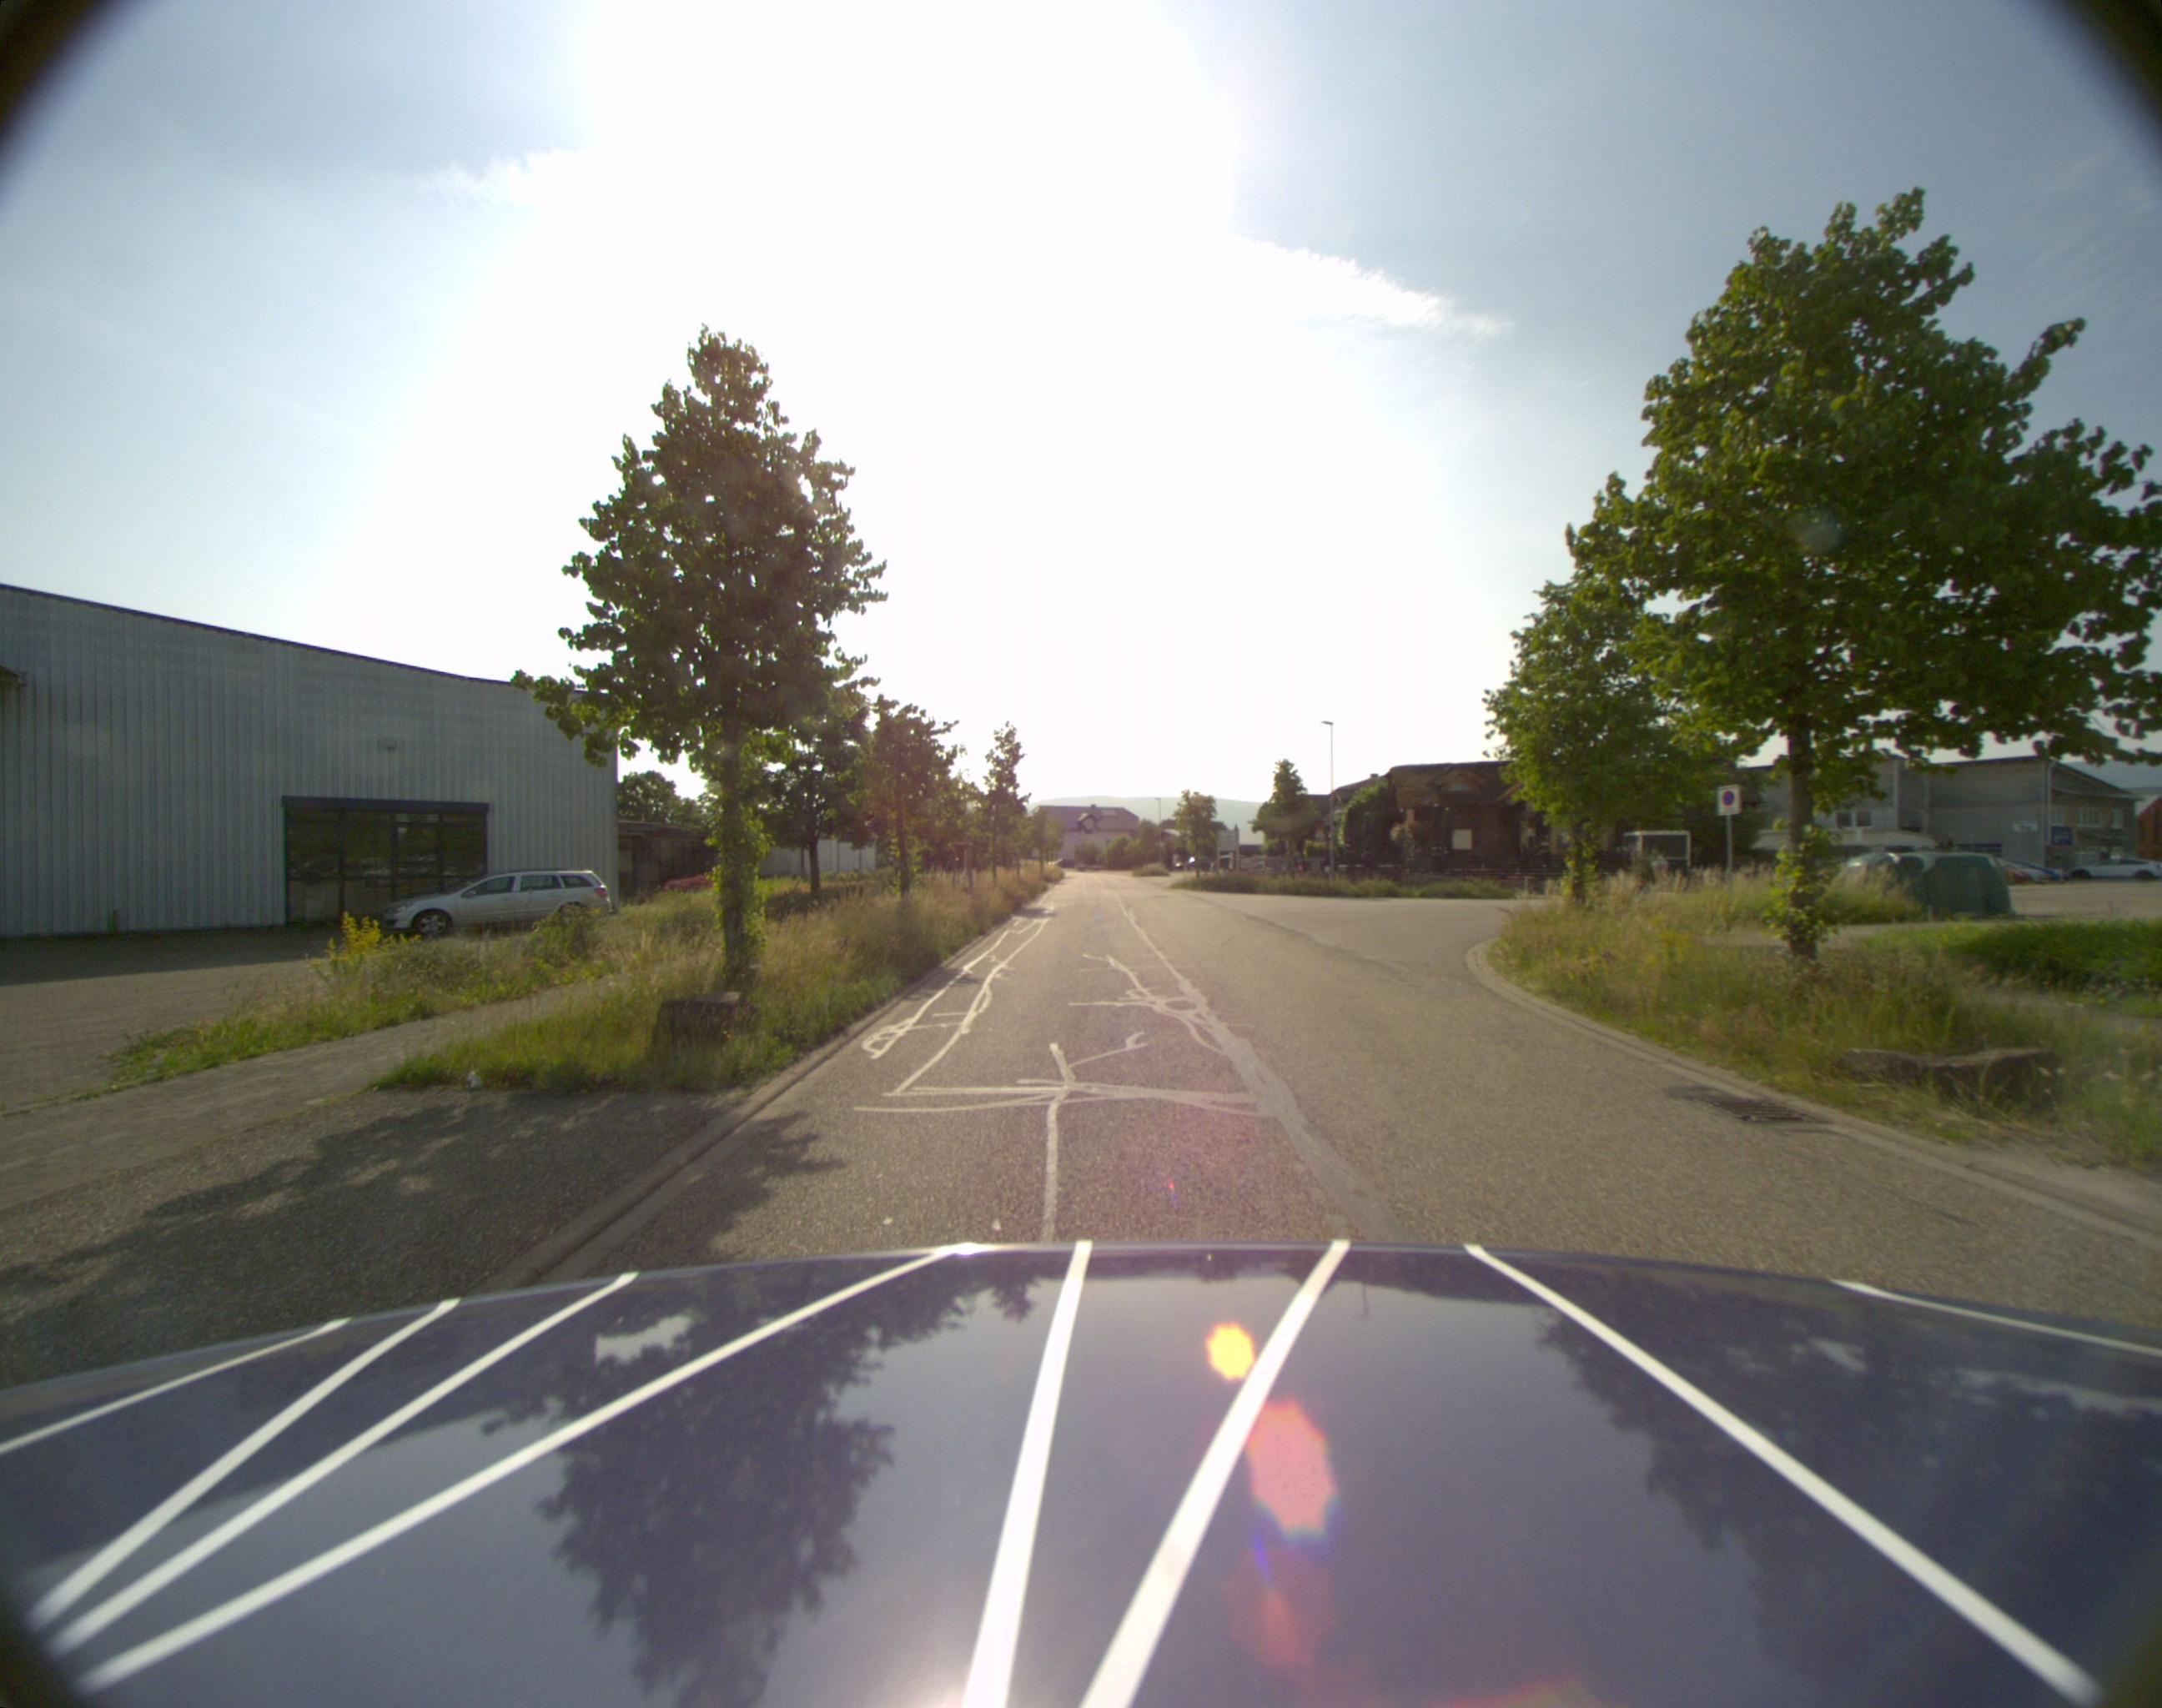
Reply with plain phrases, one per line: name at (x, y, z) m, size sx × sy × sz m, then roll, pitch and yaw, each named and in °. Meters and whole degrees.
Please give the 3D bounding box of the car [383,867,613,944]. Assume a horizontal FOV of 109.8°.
car at (-14.297, 1.165, 18.816) m, size 4.368 × 1.554 × 1.753 m, roll 0°, pitch 3°, yaw -43°

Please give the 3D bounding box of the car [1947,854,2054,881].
car at (59.319, 0.857, 49.122) m, size 2.002 × 1.649 × 3.993 m, roll -1°, pitch 0°, yaw -22°

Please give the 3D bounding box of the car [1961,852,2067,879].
car at (61.461, 0.740, 50.144) m, size 2.002 × 1.721 × 3.993 m, roll -1°, pitch 0°, yaw -22°

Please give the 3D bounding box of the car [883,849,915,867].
car at (-19.232, 0.389, 80.467) m, size 1.598 × 1.672 × 3.761 m, roll -3°, pitch 1°, yaw 16°

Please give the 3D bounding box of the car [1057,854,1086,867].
car at (-1.427, 0.972, 114.097) m, size 4.005 × 1.761 × 1.996 m, roll -1°, pitch 0°, yaw -23°

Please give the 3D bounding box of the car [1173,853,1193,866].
car at (12.370, 0.640, 92.243) m, size 1.615 × 1.472 × 3.548 m, roll -1°, pitch 0°, yaw -6°

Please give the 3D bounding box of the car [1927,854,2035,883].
car at (57.140, 0.886, 48.316) m, size 2.002 × 1.687 × 3.993 m, roll -1°, pitch 0°, yaw -22°

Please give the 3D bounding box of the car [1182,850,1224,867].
car at (13.224, 0.469, 82.147) m, size 4.004 × 1.783 × 1.996 m, roll -1°, pitch 0°, yaw -21°

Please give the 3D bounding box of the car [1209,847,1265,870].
car at (12.109, 0.372, 59.147) m, size 3.996 × 1.718 × 2.000 m, roll -1°, pitch 0°, yaw 1°

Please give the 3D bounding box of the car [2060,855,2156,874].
car at (77.456, 0.775, 57.359) m, size 1.764 × 1.360 × 4.057 m, roll -1°, pitch 0°, yaw -24°

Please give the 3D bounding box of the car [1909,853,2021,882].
car at (55.161, 0.830, 47.505) m, size 2.002 × 1.725 × 4.157 m, roll -1°, pitch 0°, yaw -22°

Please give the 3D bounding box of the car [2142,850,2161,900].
car at (42.047, 0.760, 28.348) m, size 4.894 × 1.813 × 2.019 m, roll -1°, pitch 0°, yaw -25°
